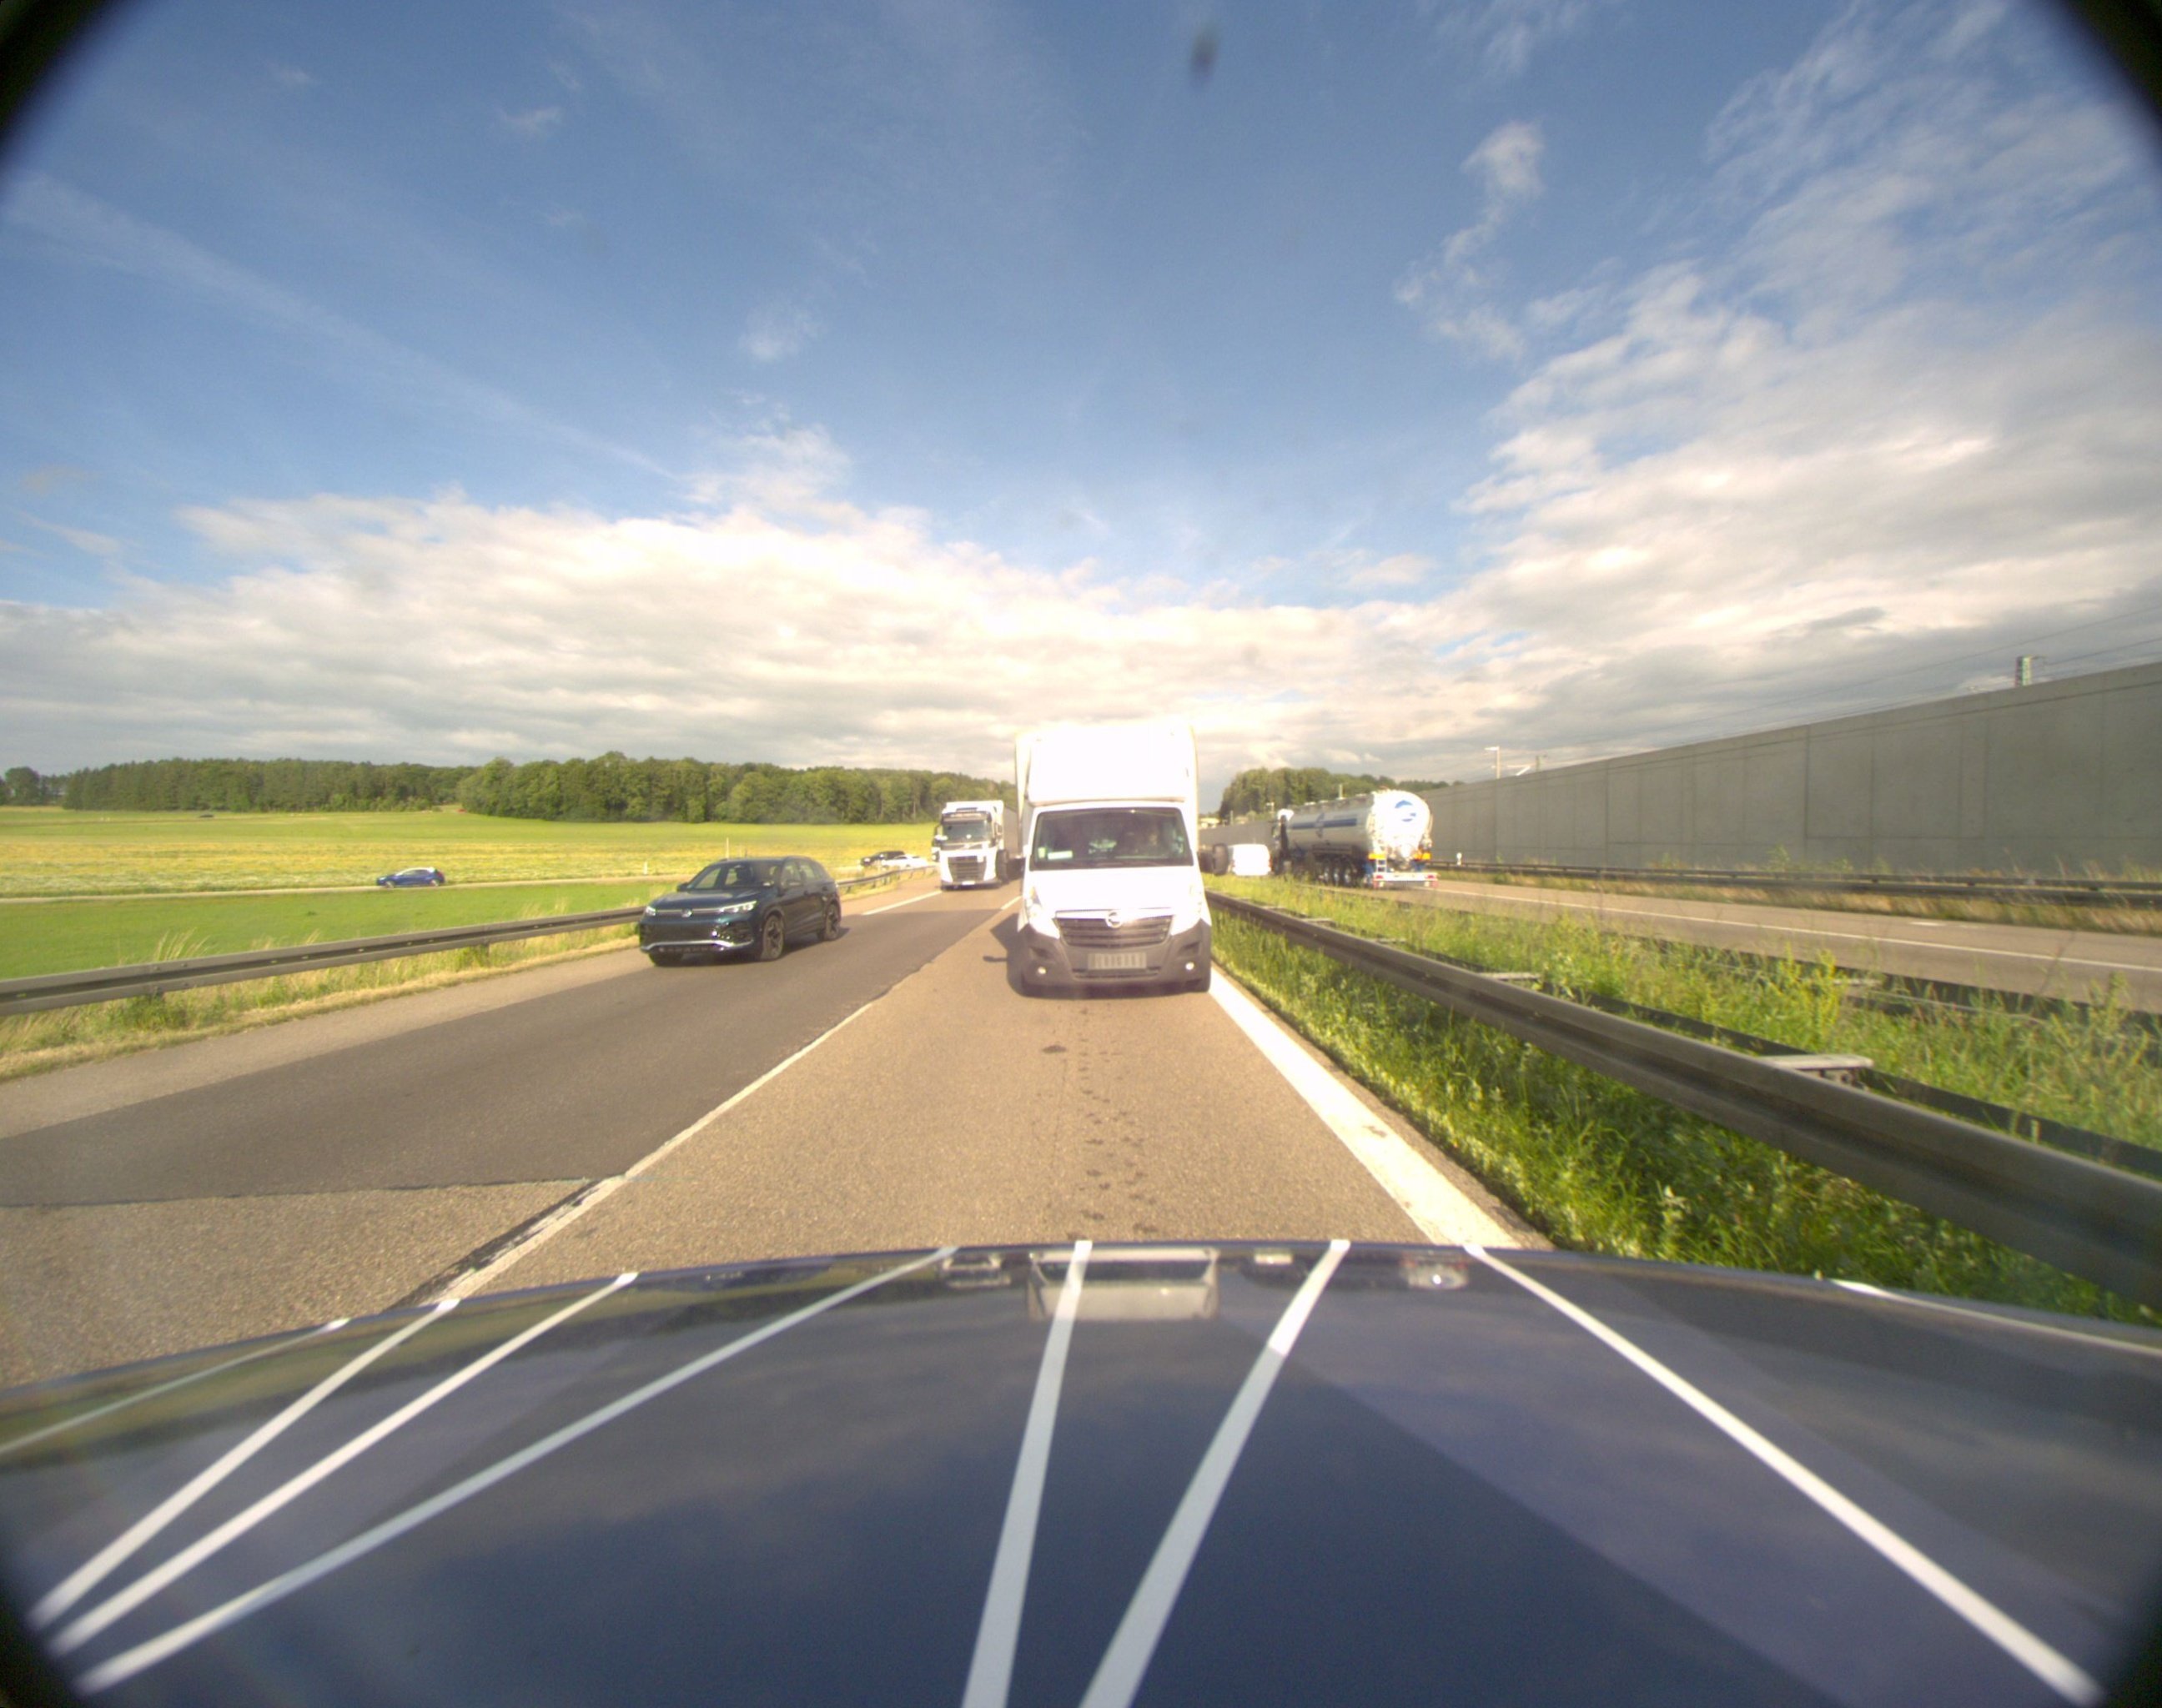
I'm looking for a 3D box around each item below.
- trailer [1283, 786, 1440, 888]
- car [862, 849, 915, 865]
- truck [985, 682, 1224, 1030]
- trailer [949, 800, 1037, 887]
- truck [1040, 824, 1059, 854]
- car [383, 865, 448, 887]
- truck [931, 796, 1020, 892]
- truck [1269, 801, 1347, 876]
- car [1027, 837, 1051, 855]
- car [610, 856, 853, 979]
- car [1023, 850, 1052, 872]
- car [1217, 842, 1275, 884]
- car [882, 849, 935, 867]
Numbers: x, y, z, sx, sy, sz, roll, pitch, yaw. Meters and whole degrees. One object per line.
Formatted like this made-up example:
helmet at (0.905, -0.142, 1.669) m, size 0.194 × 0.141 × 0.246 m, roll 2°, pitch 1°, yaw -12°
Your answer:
trailer at (12.012, -0.722, 34.301) m, size 2.546 × 3.749 × 12.539 m, roll 0°, pitch 1°, yaw 1°
car at (-20.900, 0.317, 82.581) m, size 5.130 × 1.548 × 1.994 m, roll -3°, pitch 1°, yaw -43°
truck at (0.361, -0.032, 10.788) m, size 2.059 × 3.088 × 7.803 m, roll -2°, pitch 1°, yaw 2°
trailer at (-4.468, -0.572, 41.497) m, size 2.826 × 3.959 × 12.128 m, roll -2°, pitch 1°, yaw 2°
truck at (-4.133, -1.952, 99.712) m, size 1.998 × 3.663 × 5.931 m, roll -2°, pitch 1°, yaw 1°
car at (-51.429, 1.689, 58.795) m, size 3.567 × 1.521 × 1.720 m, roll -3°, pitch 1°, yaw -37°
truck at (-4.693, -0.471, 35.242) m, size 2.842 × 3.967 × 6.501 m, roll -2°, pitch 1°, yaw 2°
truck at (12.064, -0.816, 40.791) m, size 2.559 × 3.776 × 5.416 m, roll 0°, pitch 1°, yaw 0°
car at (-4.073, -0.759, 74.678) m, size 1.998 × 1.647 × 4.000 m, roll -2°, pitch 1°, yaw 1°
car at (-5.559, 0.909, 12.794) m, size 1.998 × 1.587 × 4.119 m, roll -2°, pitch 1°, yaw 2°
car at (-3.575, 0.537, 62.436) m, size 1.998 × 1.647 × 4.000 m, roll -2°, pitch 1°, yaw 1°
car at (7.827, 0.364, 36.375) m, size 1.864 × 1.823 × 4.280 m, roll -2°, pitch 1°, yaw 1°
car at (-16.861, 0.404, 74.189) m, size 5.067 × 1.537 × 2.004 m, roll -2°, pitch 1°, yaw 33°
